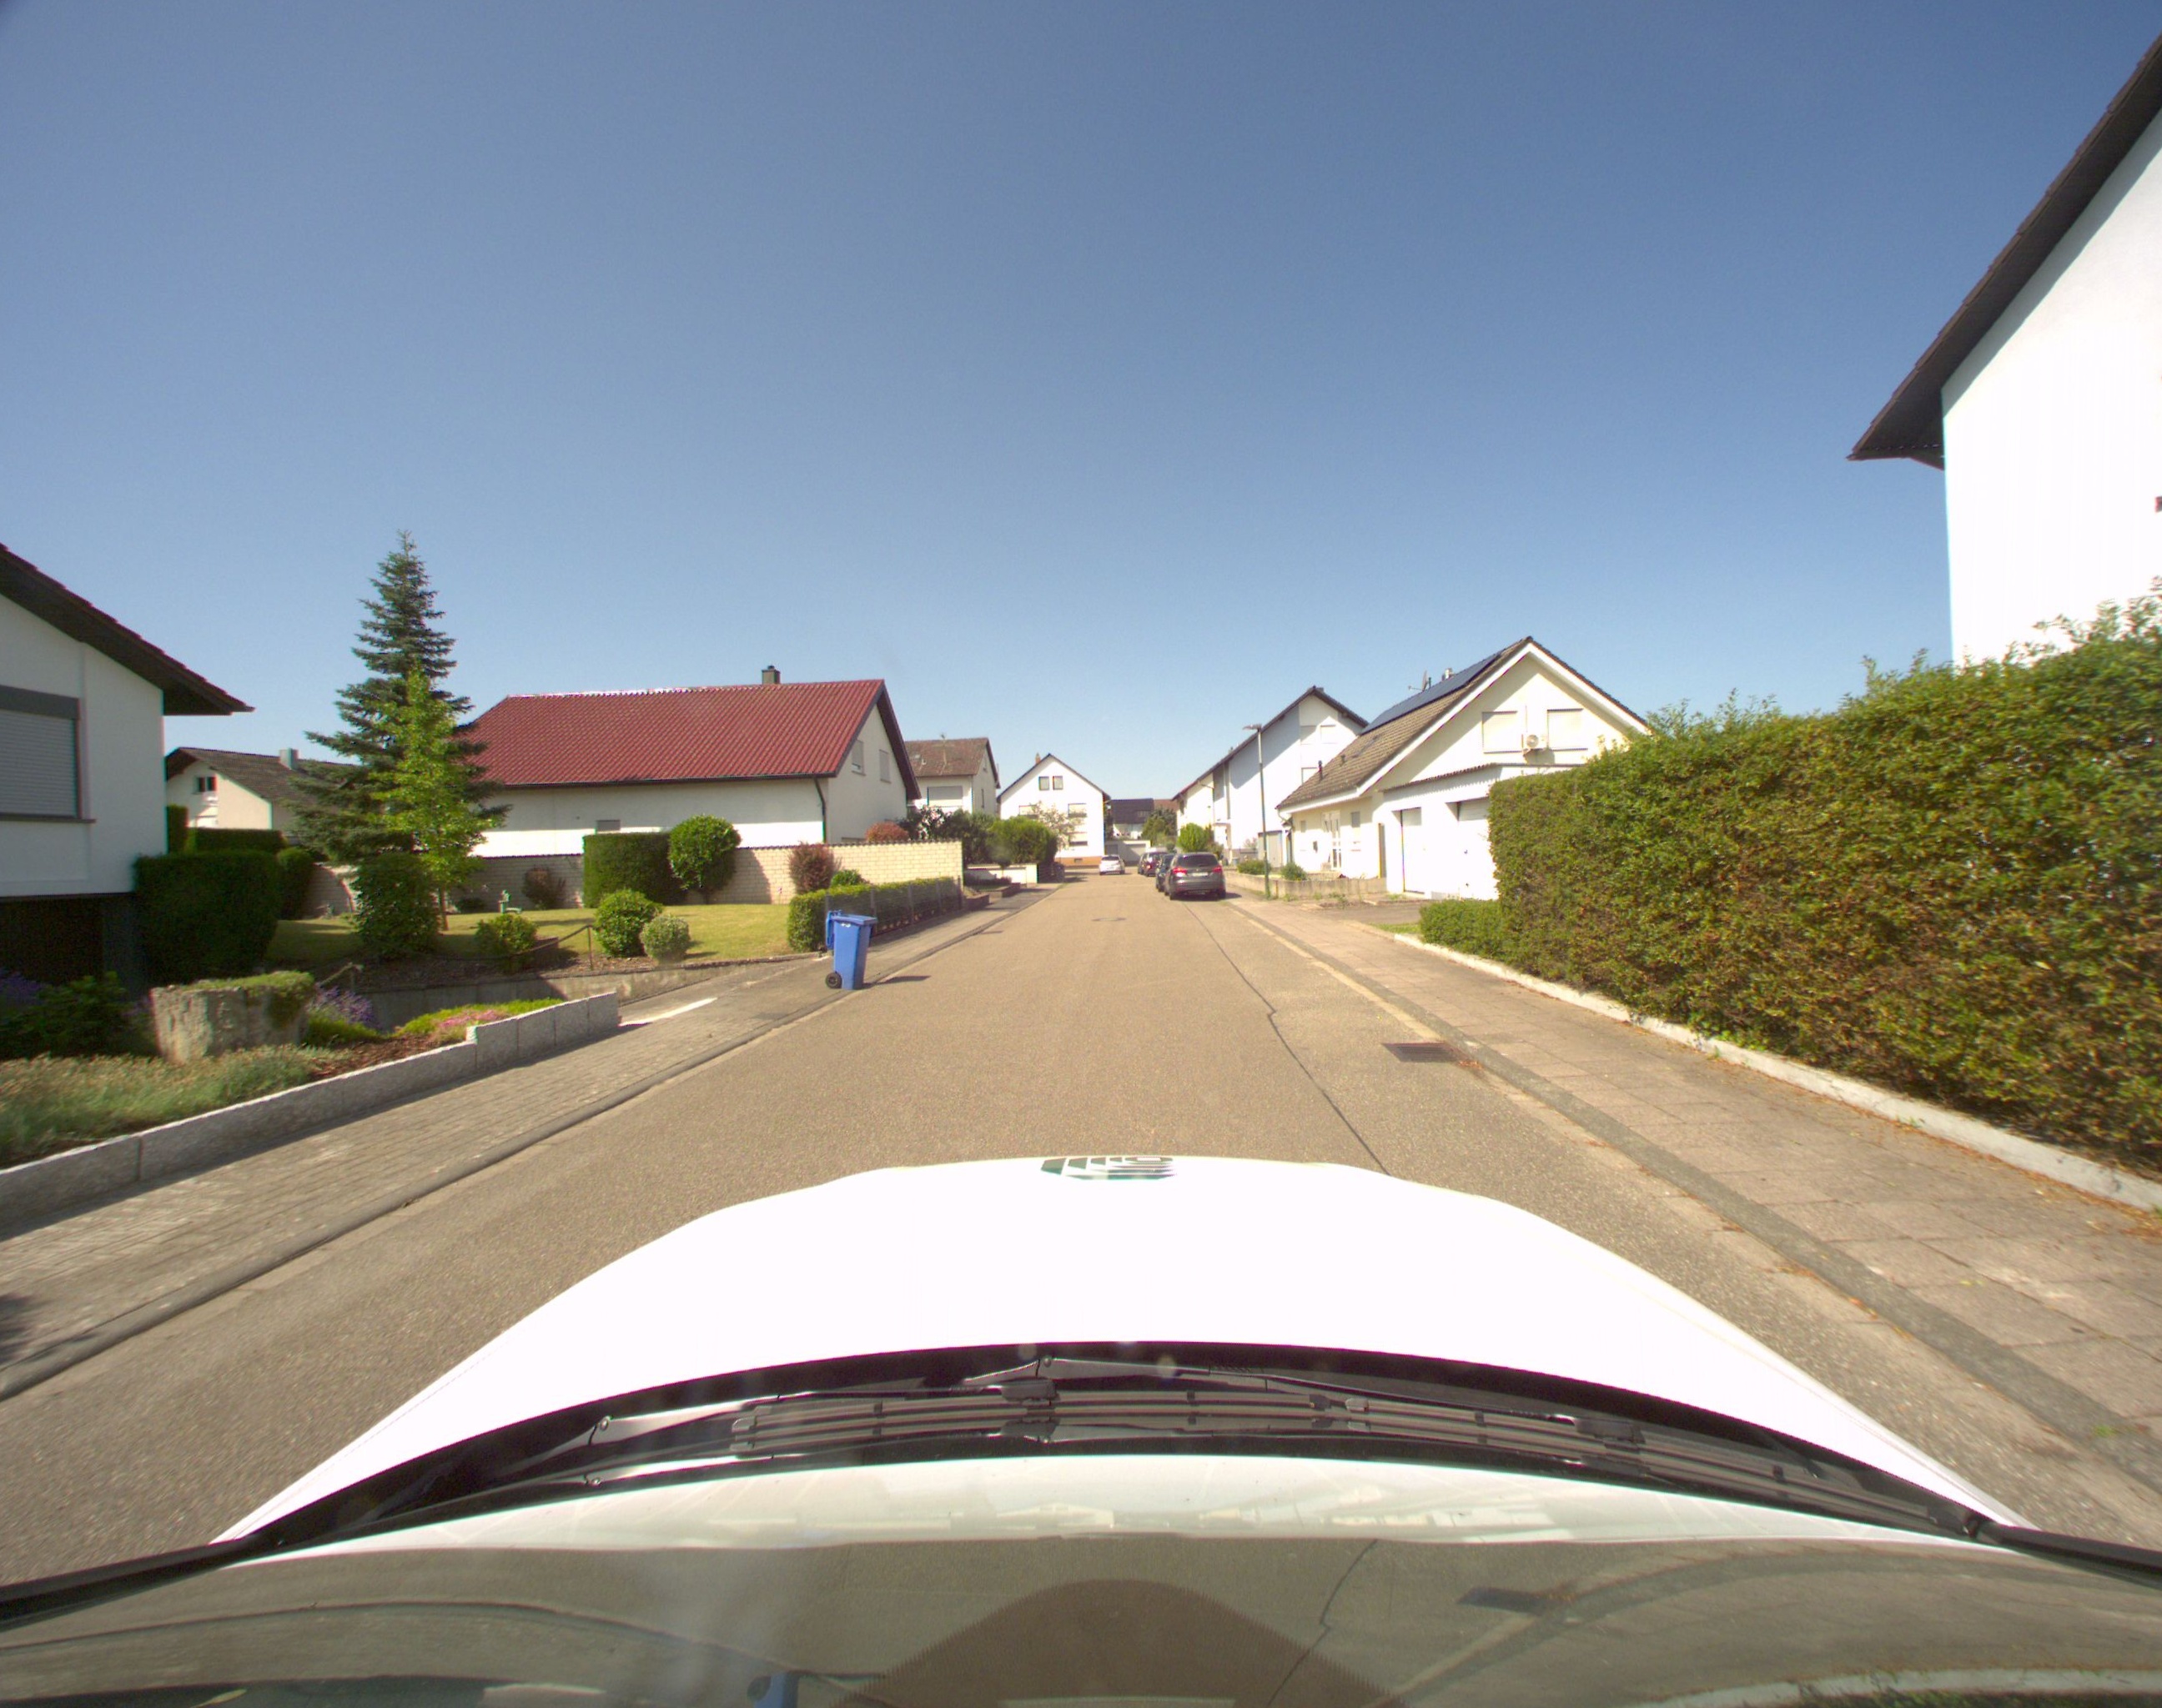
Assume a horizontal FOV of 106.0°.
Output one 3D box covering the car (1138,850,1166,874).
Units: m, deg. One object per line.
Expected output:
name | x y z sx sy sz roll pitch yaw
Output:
car | 5.044 0.548 58.469 1.639 1.546 4.048 -3 0 1

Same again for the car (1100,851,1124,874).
car | 2.323 0.579 60.218 1.638 1.581 3.812 -3 0 3

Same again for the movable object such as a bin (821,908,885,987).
movable object such as a bin | -2.865 1.162 10.272 0.580 0.916 0.598 -2 0 3

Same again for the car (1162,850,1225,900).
car | 3.633 0.643 26.964 1.636 1.478 4.002 -1 1 2

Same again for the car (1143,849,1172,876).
car | 4.977 0.526 53.479 1.638 1.581 4.150 -3 0 3

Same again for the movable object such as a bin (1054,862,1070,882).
movable object such as a bin | -1.077 1.020 46.001 0.815 1.063 0.611 -3 0 1

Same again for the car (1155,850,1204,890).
car | 3.924 0.615 33.020 1.710 1.438 4.508 -3 0 4

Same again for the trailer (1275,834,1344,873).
trailer | 10.757 -0.014 38.446 2.822 1.690 1.403 -3 0 2
